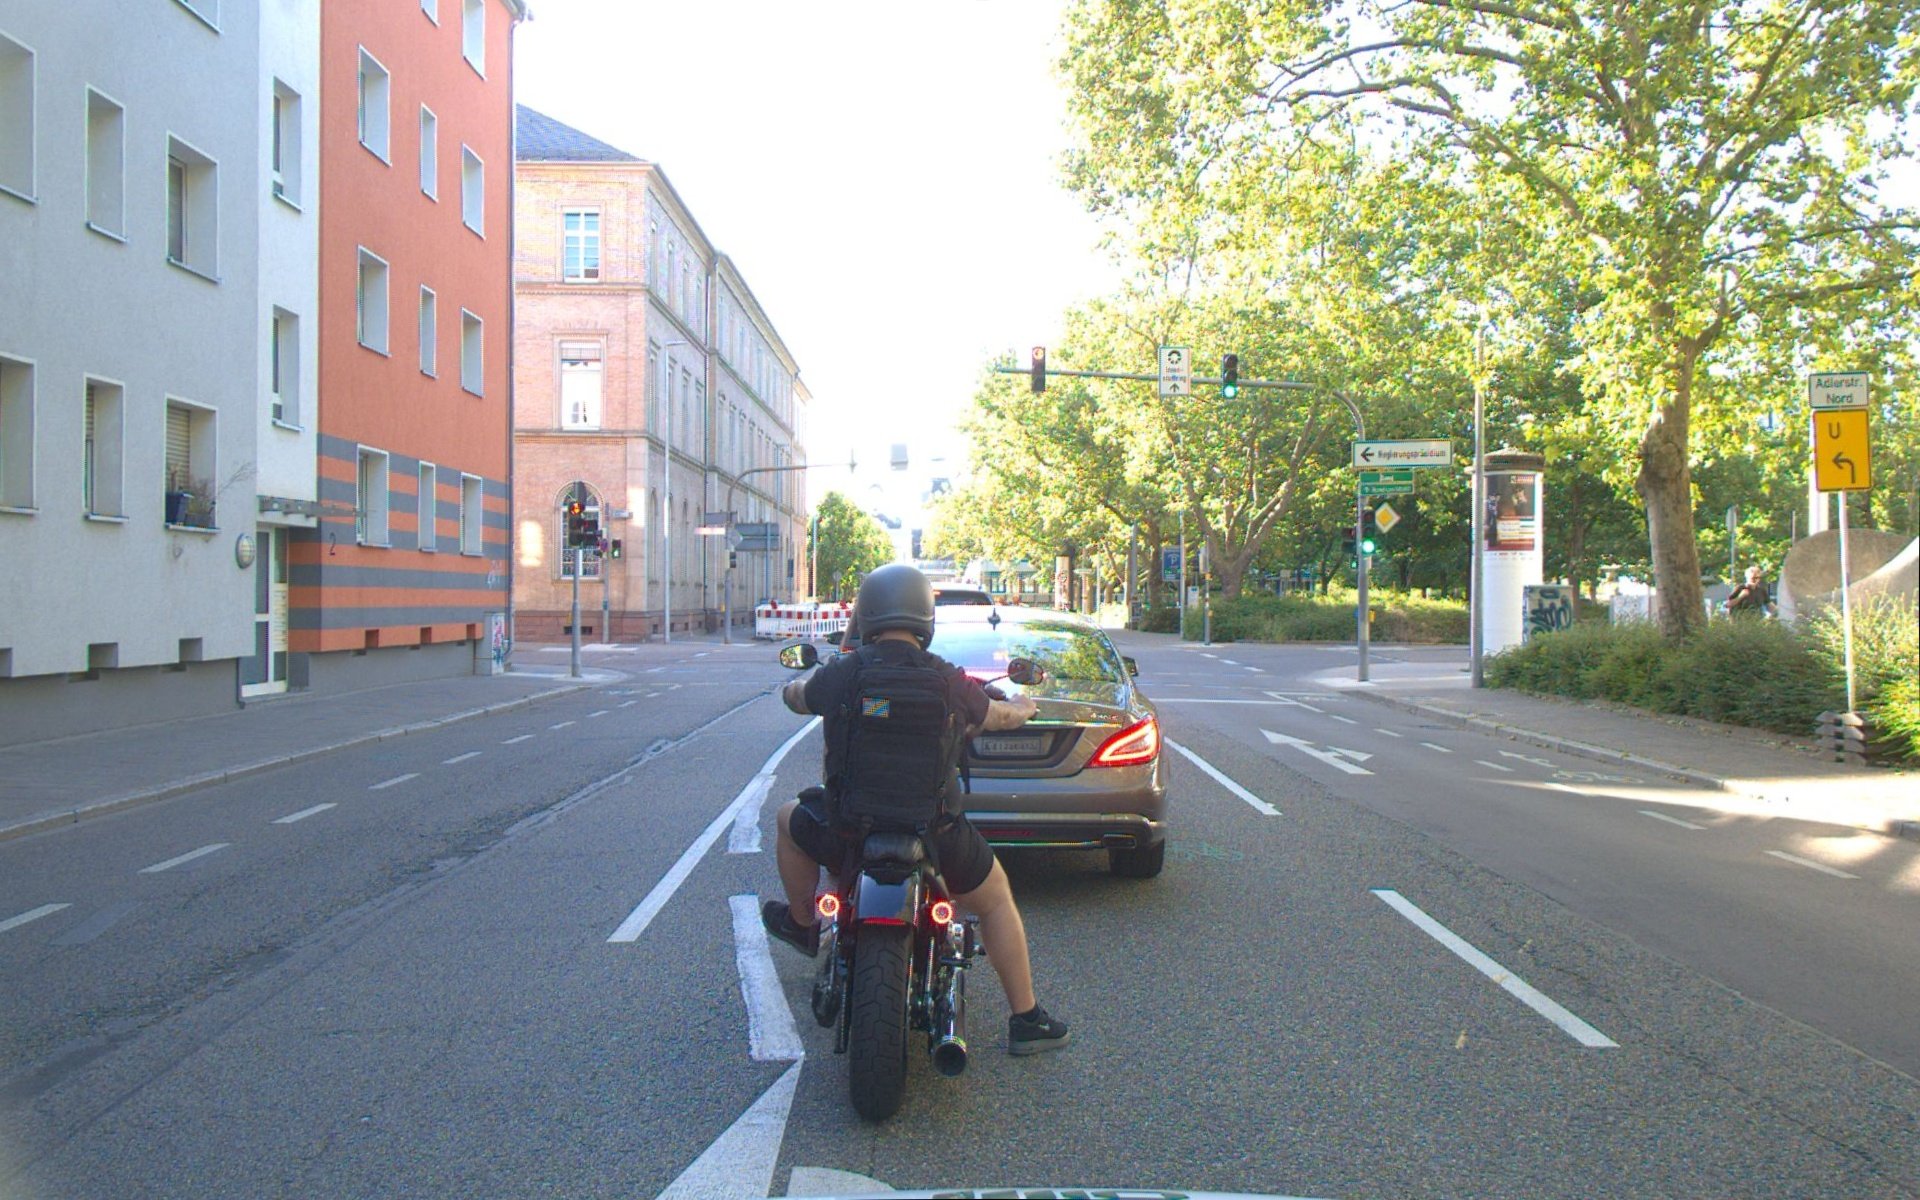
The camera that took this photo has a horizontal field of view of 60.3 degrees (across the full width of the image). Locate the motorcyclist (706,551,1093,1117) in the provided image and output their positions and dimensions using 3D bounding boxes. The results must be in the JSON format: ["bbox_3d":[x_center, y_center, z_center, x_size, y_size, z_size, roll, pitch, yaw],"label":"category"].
[{"bbox_3d":[-0.137,0.665,5.279,1.076,1.593,1.072,1,0,5],"label":"motorcyclist"}]

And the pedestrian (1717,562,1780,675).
[{"bbox_3d":[12.876,0.302,27.021,0.720,1.809,0.730,1,-1,7],"label":"pedestrian"}]

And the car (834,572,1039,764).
[{"bbox_3d":[-0.236,0.627,16.944,1.825,1.707,3.999,1,0,-1],"label":"car"}]

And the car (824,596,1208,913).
[{"bbox_3d":[0.238,0.735,9.672,1.785,1.462,3.805,1,0,-1],"label":"car"}]

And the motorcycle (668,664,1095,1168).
[{"bbox_3d":[-0.124,0.875,5.500,1.094,1.228,2.213,1,0,5],"label":"motorcycle"}]
